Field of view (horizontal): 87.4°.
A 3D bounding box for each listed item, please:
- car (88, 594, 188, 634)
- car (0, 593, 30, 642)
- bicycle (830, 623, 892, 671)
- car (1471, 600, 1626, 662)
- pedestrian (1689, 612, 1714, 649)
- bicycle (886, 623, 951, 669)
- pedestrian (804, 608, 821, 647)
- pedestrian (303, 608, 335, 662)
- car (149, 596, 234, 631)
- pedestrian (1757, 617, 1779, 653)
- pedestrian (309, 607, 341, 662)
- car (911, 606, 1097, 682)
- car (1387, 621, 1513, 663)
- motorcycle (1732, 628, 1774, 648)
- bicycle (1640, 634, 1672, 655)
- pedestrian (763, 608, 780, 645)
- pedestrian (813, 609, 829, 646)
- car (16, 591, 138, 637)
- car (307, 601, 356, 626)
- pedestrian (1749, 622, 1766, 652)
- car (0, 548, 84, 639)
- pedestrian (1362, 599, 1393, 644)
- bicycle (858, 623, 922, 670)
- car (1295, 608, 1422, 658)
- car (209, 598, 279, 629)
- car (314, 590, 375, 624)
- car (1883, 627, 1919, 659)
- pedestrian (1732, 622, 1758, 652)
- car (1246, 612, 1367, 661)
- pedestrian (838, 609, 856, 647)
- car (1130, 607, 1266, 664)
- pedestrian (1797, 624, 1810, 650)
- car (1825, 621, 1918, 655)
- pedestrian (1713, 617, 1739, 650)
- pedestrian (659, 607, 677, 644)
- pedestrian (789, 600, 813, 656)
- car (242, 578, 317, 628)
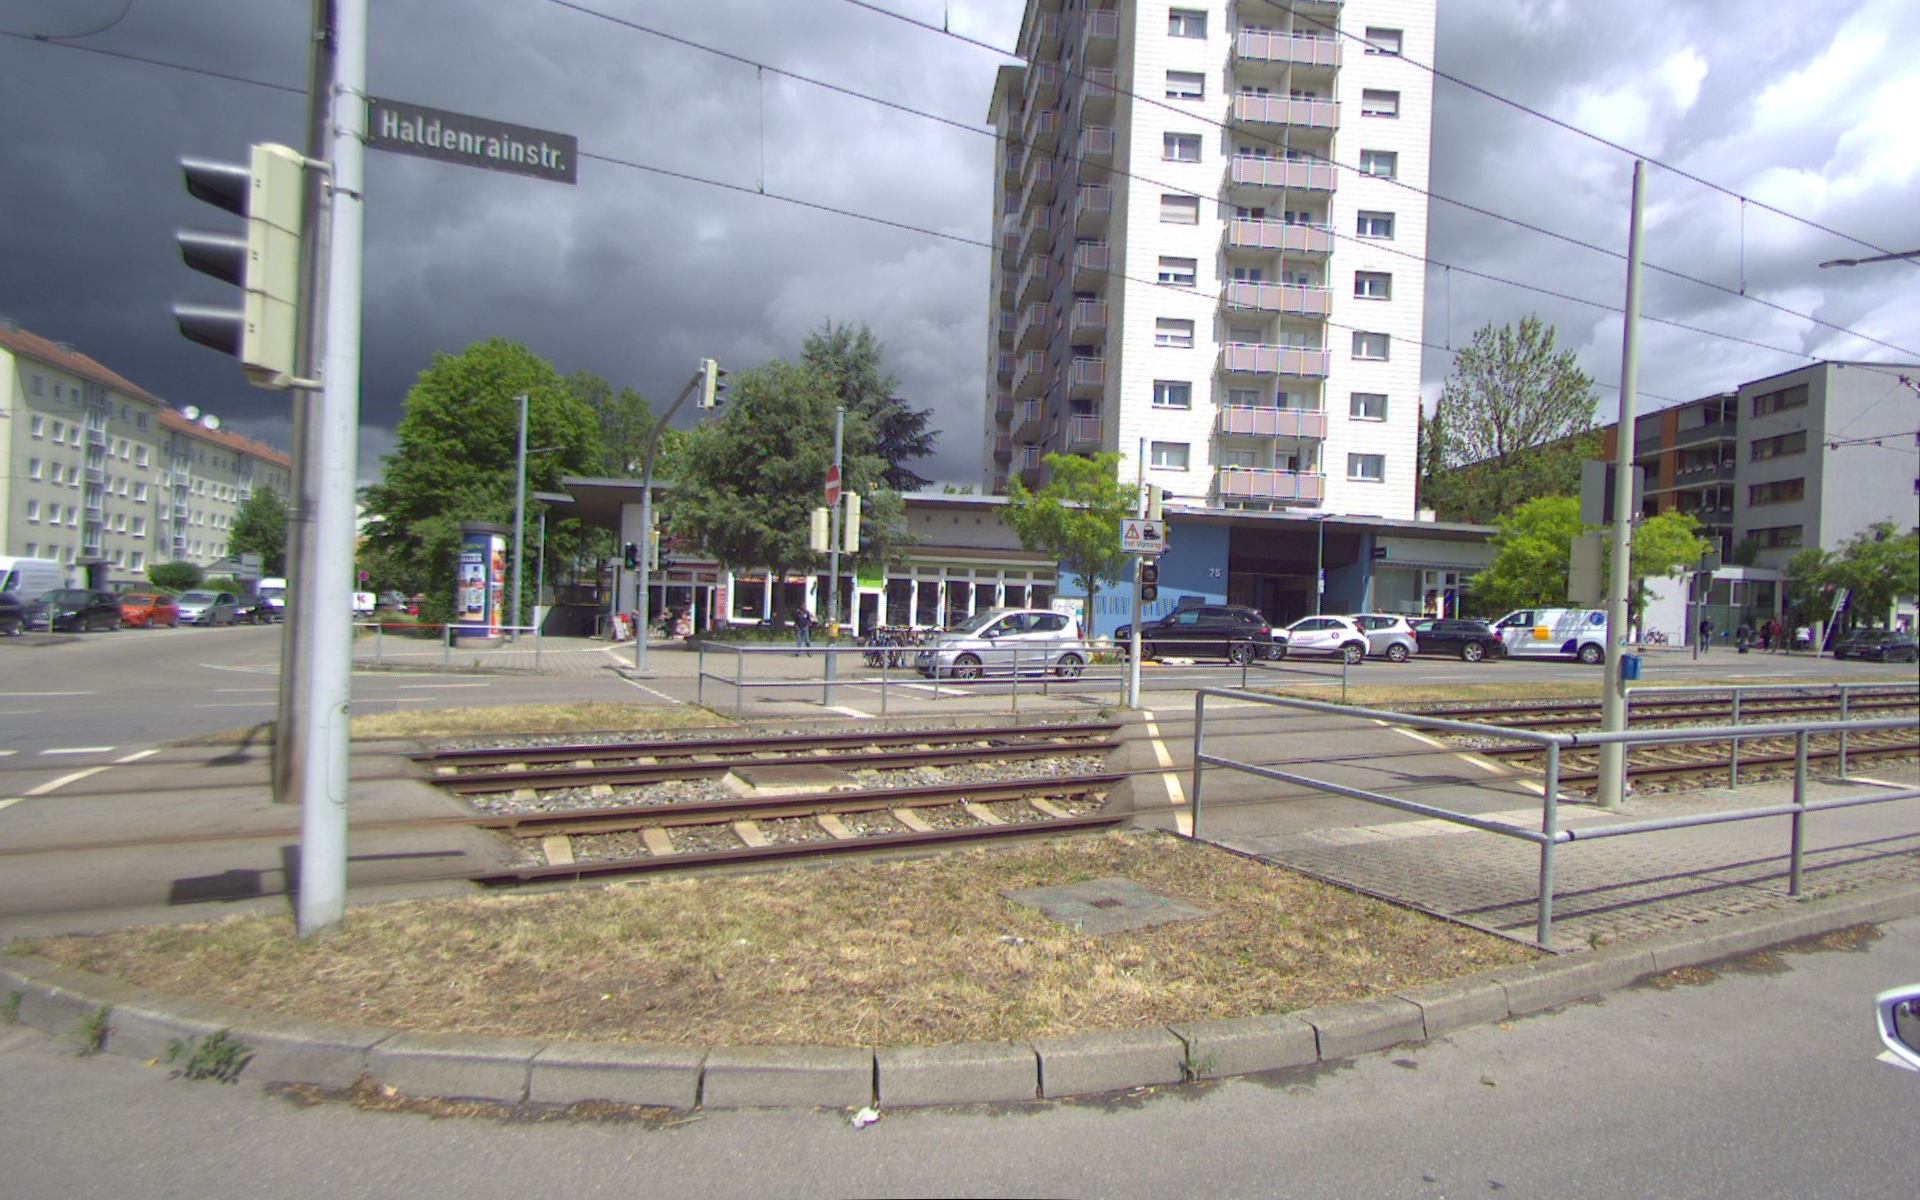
[{"bbox_3d":[-35.268,0.589,43.226,1.968,1.623,3.984,1,-1,-18],"label":"car"},{"bbox_3d":[-30.683,0.535,30.628,1.970,1.514,3.982,1,-1,-20],"label":"car"},{"bbox_3d":[-2.439,1.106,24.422,0.696,1.080,2.418,1,-1,-27],"label":"bicycle"},{"bbox_3d":[21.713,1.115,37.281,4.668,2.185,1.906,0,-1,21],"label":"car"},{"bbox_3d":[36.843,1.511,49.930,0.827,1.816,0.873,0,-1,24],"label":"pedestrian"},{"bbox_3d":[-1.060,1.132,25.156,0.696,1.080,2.418,1,-1,-27],"label":"bicycle"},{"bbox_3d":[-5.816,1.085,39.609,0.564,1.492,0.523,1,-1,-25],"label":"pedestrian"},{"bbox_3d":[-17.881,0.977,28.015,0.516,1.492,0.572,1,-1,-1],"label":"pedestrian"},{"bbox_3d":[-36.635,0.654,48.028,1.968,1.623,3.984,1,-1,-18],"label":"car"},{"bbox_3d":[41.542,1.807,51.629,0.833,1.816,0.608,1,-1,-29],"label":"pedestrian"},{"bbox_3d":[-17.364,0.929,27.480,0.516,1.492,0.519,1,-1,-1],"label":"pedestrian"},{"bbox_3d":[0.964,0.945,22.096,3.703,1.553,1.813,1,-1,-25],"label":"car"},{"bbox_3d":[17.594,1.495,36.276,3.921,1.402,1.906,0,-1,21],"label":"car"},{"bbox_3d":[47.458,2.267,60.134,0.733,1.194,1.883,1,-1,-30],"label":"motorcycle"},{"bbox_3d":[41.710,2.659,60.195,0.656,1.228,1.974,1,-1,3],"label":"bicycle"},{"bbox_3d":[-7.684,1.088,40.967,0.515,1.492,0.572,1,-1,5],"label":"pedestrian"},{"bbox_3d":[-5.676,1.111,41.065,0.515,1.492,0.572,1,-1,2],"label":"pedestrian"},{"bbox_3d":[-32.747,0.519,37.397,1.968,1.623,3.984,1,-1,-18],"label":"car"},{"bbox_3d":[-43.889,0.948,70.262,1.968,1.623,3.984,1,-1,-18],"label":"car"},{"bbox_3d":[42.886,1.984,53.996,0.654,1.594,0.686,0,-1,34],"label":"pedestrian"},{"bbox_3d":[-37.020,-0.225,39.181,1.969,3.343,6.279,1,-1,-19],"label":"car"},{"bbox_3d":[17.255,0.893,41.506,0.876,1.845,0.768,1,-1,-16],"label":"pedestrian"},{"bbox_3d":[-1.767,1.119,24.805,0.696,1.080,2.418,1,-1,-27],"label":"bicycle"},{"bbox_3d":[13.732,1.123,34.881,3.920,1.653,1.907,0,-1,16],"label":"car"},{"bbox_3d":[-38.774,0.739,54.504,1.968,1.623,3.984,1,-1,-18],"label":"car"},{"bbox_3d":[-47.874,0.564,78.240,3.764,2.510,1.752,1,-1,-22],"label":"car"},{"bbox_3d":[48.517,2.145,50.350,4.337,1.495,1.750,1,-1,-23],"label":"car"},{"bbox_3d":[39.986,1.881,51.139,0.957,1.554,0.601,1,-1,-16],"label":"pedestrian"},{"bbox_3d":[11.439,1.179,33.164,3.693,1.516,1.747,0,-1,22],"label":"car"},{"bbox_3d":[-4.453,1.101,39.689,0.564,1.492,0.523,1,-1,-25],"label":"pedestrian"},{"bbox_3d":[7.295,1.059,30.794,3.919,1.612,1.933,0,-1,15],"label":"car"},{"bbox_3d":[48.306,2.130,57.536,0.490,1.479,0.559,0,-1,34],"label":"pedestrian"},{"bbox_3d":[42.684,1.781,47.035,4.323,1.447,1.728,2,1,-26],"label":"car"},{"bbox_3d":[39.557,1.746,51.876,0.603,1.672,0.840,1,1,-18],"label":"pedestrian"},{"bbox_3d":[-12.036,1.050,41.386,0.515,1.492,0.572,1,-1,5],"label":"pedestrian"},{"bbox_3d":[-4.753,0.843,30.083,0.593,1.665,0.414,1,-1,-30],"label":"pedestrian"},{"bbox_3d":[-41.023,0.218,60.695,2.398,2.825,4.877,1,-1,-18],"label":"car"}]
